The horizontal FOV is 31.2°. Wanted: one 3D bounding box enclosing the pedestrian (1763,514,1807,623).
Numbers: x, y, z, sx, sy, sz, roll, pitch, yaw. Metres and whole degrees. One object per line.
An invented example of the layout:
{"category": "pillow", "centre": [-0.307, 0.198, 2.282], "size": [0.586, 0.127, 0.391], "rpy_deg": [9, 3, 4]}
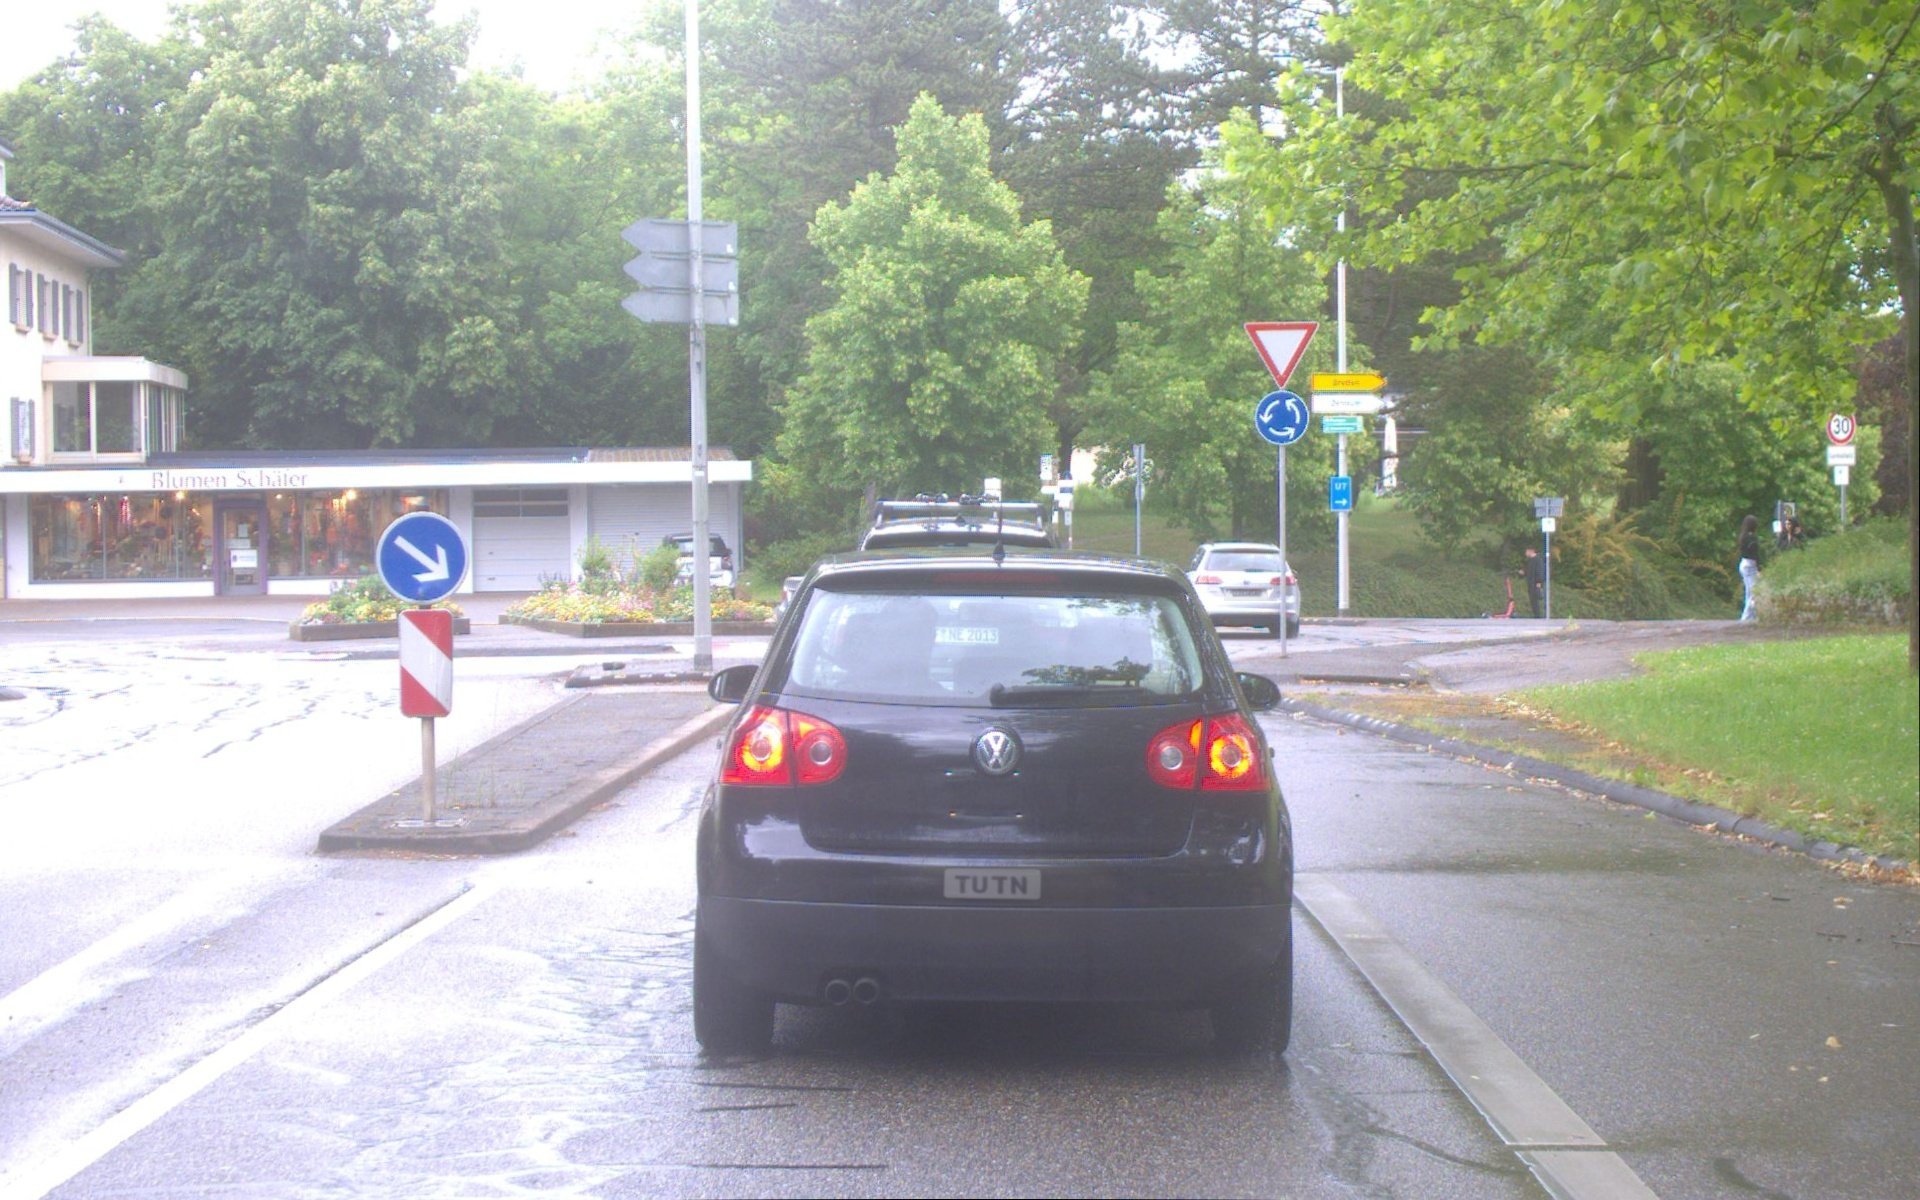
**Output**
{"category": "pedestrian", "centre": [13.131, -0.504, 54.690], "size": [0.634, 1.707, 0.529], "rpy_deg": [1, 0, 16]}

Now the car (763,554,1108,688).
{"category": "car", "centre": [-0.332, 0.267, 44.874], "size": [4.018, 1.678, 2.000], "rpy_deg": [1, 0, -23]}

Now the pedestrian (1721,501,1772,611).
{"category": "pedestrian", "centre": [12.396, -0.691, 54.210], "size": [0.528, 1.707, 0.636], "rpy_deg": [1, 0, -15]}

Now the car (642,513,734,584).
{"category": "car", "centre": [-6.071, -1.152, 76.450], "size": [1.812, 1.481, 3.832], "rpy_deg": [-2, 1, -7]}

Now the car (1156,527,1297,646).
{"category": "car", "centre": [4.067, -0.213, 53.043], "size": [1.994, 1.735, 4.143], "rpy_deg": [1, 1, 2]}

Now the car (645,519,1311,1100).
{"category": "car", "centre": [0.087, 0.522, 11.230], "size": [1.765, 1.533, 4.000], "rpy_deg": [1, 1, 1]}

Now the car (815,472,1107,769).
{"category": "car", "centre": [-0.058, 0.105, 23.391], "size": [1.764, 1.795, 4.246], "rpy_deg": [-2, 1, -2]}
